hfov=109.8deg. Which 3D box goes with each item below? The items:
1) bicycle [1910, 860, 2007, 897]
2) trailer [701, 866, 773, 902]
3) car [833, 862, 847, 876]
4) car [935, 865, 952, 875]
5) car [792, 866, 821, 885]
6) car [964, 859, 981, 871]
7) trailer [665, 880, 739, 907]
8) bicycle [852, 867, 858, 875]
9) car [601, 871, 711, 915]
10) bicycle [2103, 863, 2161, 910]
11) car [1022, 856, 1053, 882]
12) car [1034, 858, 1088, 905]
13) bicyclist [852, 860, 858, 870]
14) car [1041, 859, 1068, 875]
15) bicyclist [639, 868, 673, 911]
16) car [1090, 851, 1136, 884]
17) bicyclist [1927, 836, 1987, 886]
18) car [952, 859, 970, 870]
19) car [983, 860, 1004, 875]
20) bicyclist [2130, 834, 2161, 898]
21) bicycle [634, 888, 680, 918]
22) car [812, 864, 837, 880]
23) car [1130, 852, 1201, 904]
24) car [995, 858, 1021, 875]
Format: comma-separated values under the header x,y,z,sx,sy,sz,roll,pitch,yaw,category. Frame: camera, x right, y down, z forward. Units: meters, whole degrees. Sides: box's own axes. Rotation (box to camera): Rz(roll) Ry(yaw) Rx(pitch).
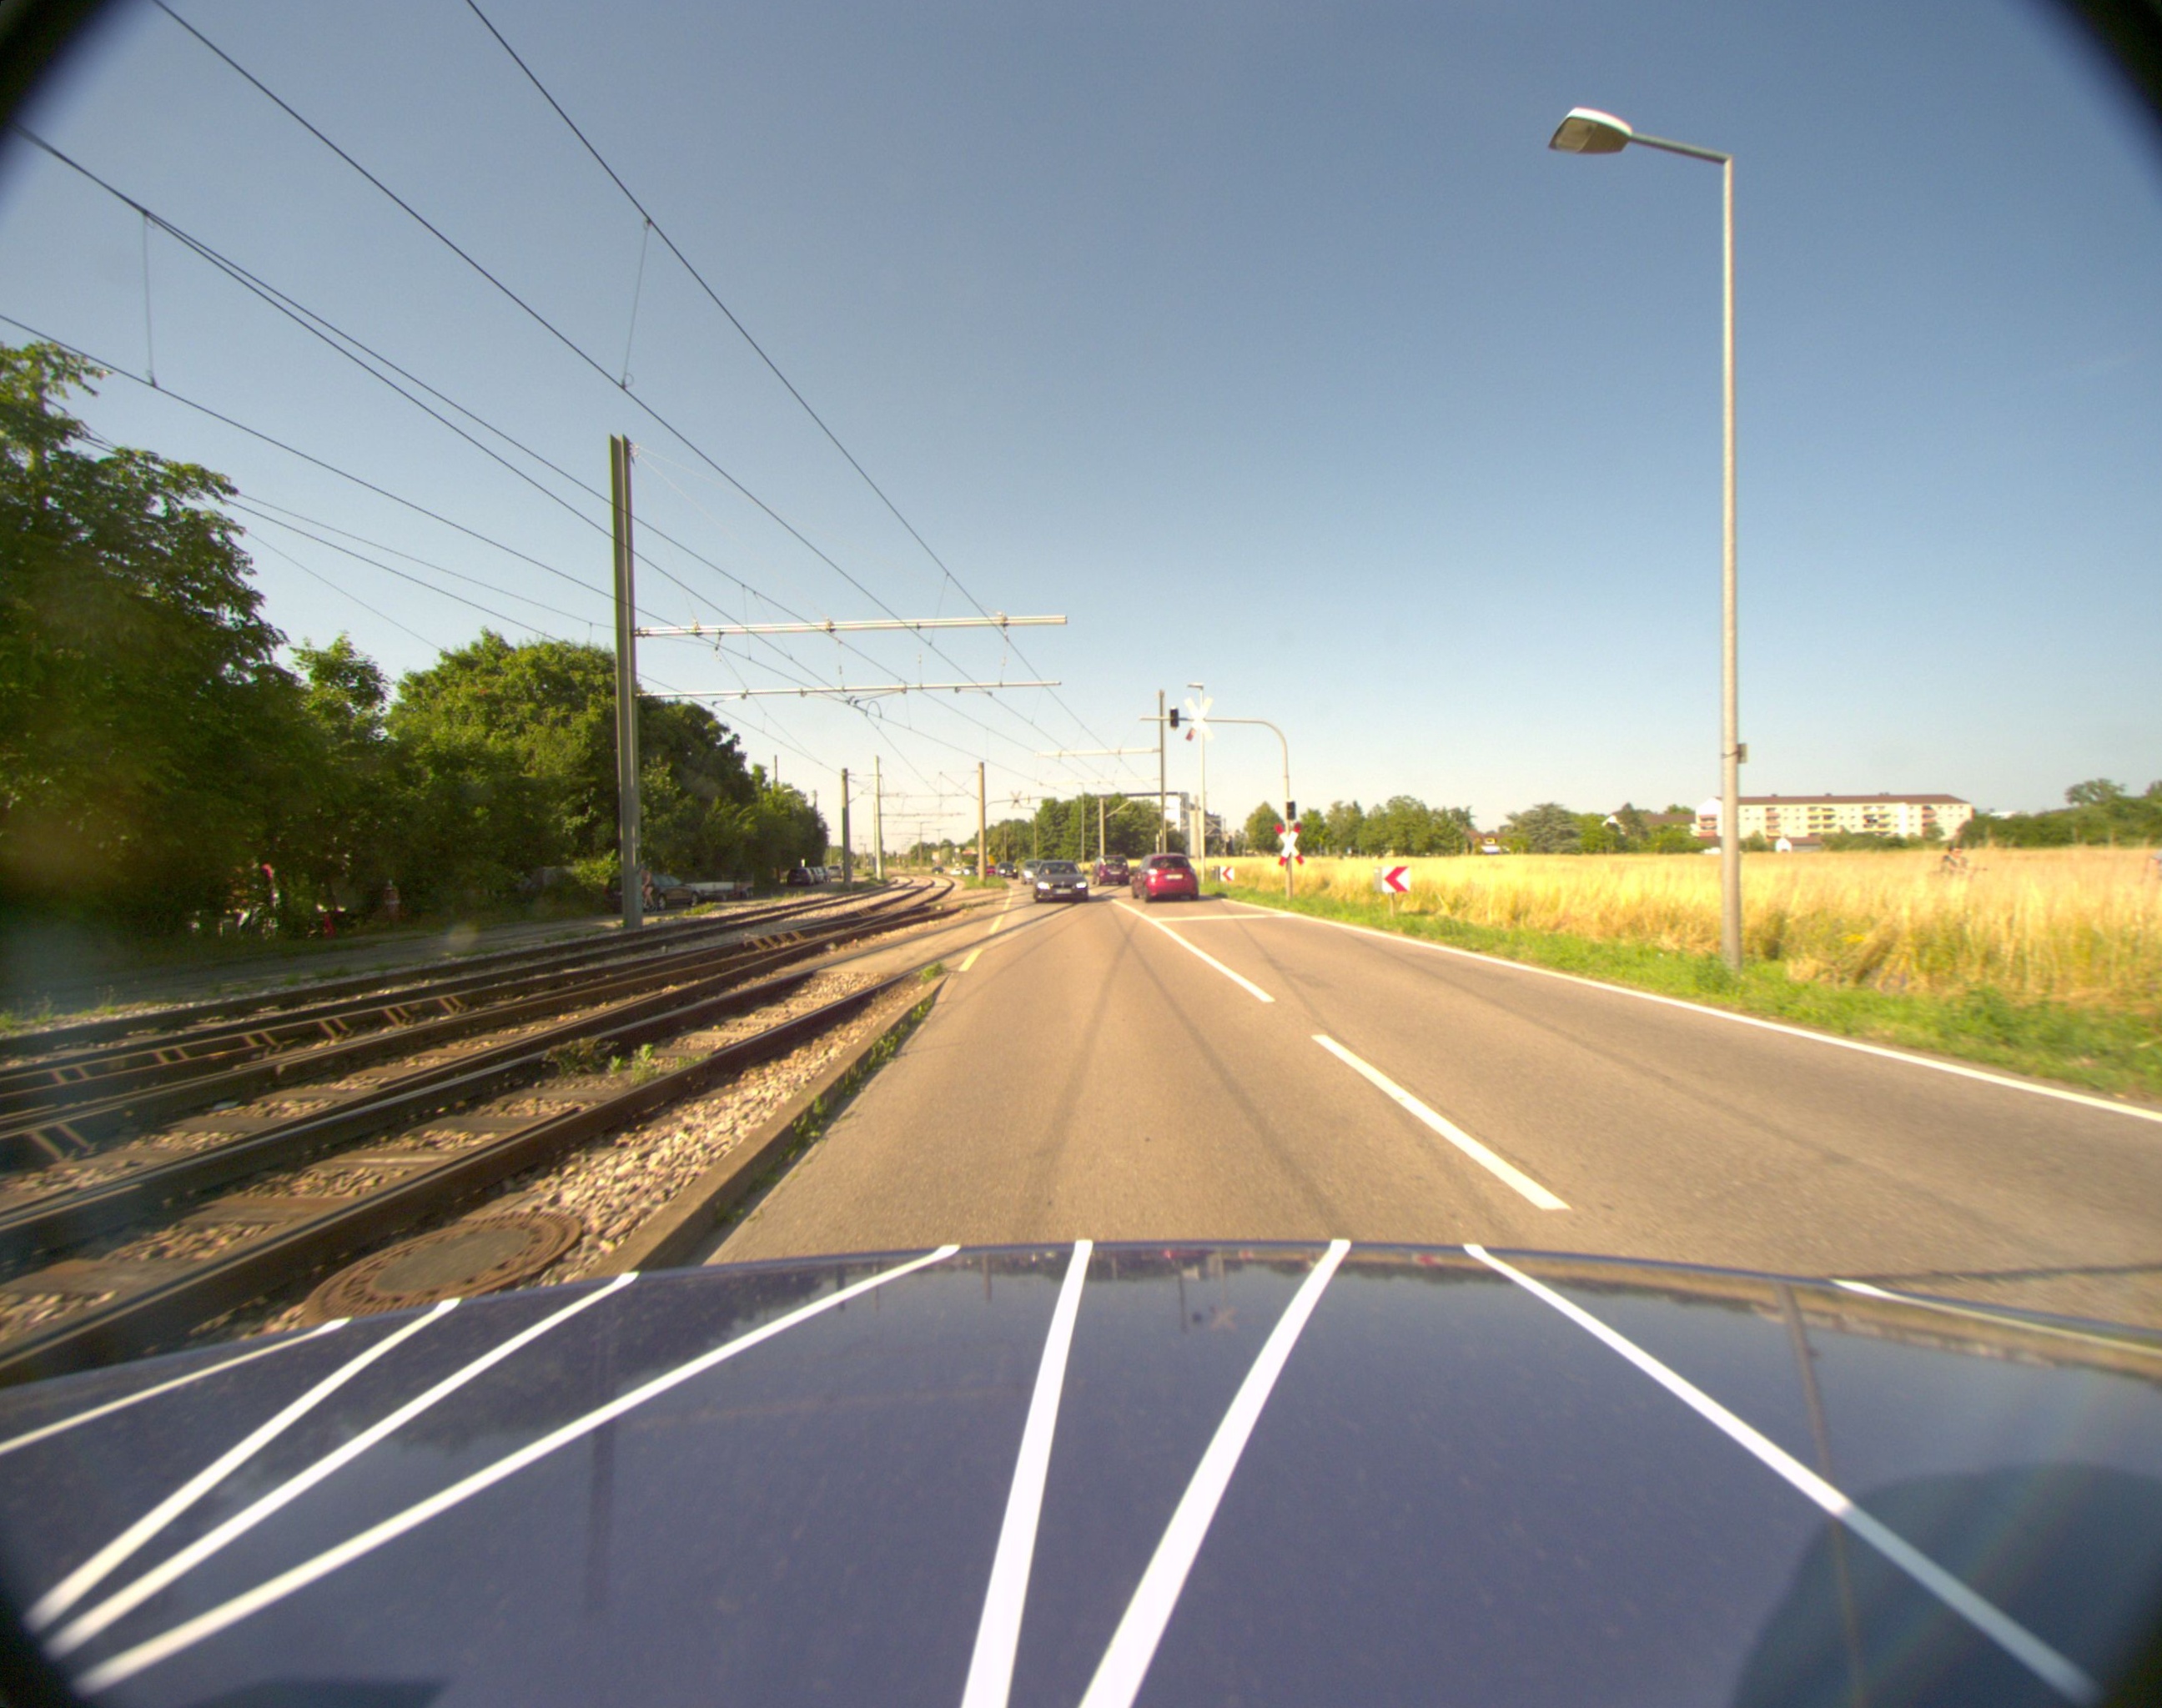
x,y,z,sx,sy,sz,roll,pitch,yaw,category
21.638,0.588,18.781,0.614,0.834,1.737,-2,0,11,bicycle
-17.661,1.481,39.214,2.032,1.587,4.257,-4,0,-6,trailer
-27.650,1.701,87.080,1.528,1.600,4.477,-1,-1,-18,car
-22.547,2.673,124.390,1.840,1.504,4.146,-3,0,-21,car
-21.600,1.666,59.946,1.628,1.402,4.516,-3,0,-13,car
-14.274,1.475,99.758,1.609,1.504,4.262,-3,0,-16,car
-17.457,1.811,35.175,1.736,0.934,3.726,-4,0,-5,trailer
-27.385,2.018,92.058,0.645,0.904,1.811,-2,0,-18,bicycle
-16.782,1.493,30.323,1.703,1.448,4.879,-4,0,-3,car
20.502,0.616,14.165,0.751,0.834,1.737,-2,0,11,bicycle
-2.669,0.898,45.590,1.711,1.444,4.588,-3,-1,-4,car
-0.677,0.916,26.898,1.747,1.444,3.946,-2,0,-1,car
-27.402,1.352,92.043,0.642,1.226,0.790,-2,0,-18,bicyclist
-2.504,1.207,70.418,1.699,1.431,4.279,-2,0,-12,car
-14.811,1.224,26.511,0.631,1.414,0.962,-2,0,-4,bicyclist
1.681,0.722,41.430,1.712,1.655,4.587,-2,0,-7,car
21.630,0.178,18.780,0.603,1.198,0.790,-2,0,10,bicyclist
-17.343,1.493,109.568,1.971,1.609,4.301,-2,0,-18,car
-10.079,1.562,87.031,1.849,1.587,3.734,-3,0,-14,car
20.495,0.213,14.165,0.746,1.198,0.790,-2,0,10,bicyclist
-14.797,1.686,26.549,0.644,0.904,1.843,-2,0,-4,bicycle
-25.396,1.757,75.316,1.683,1.421,3.908,-3,0,-10,car
2.716,0.731,25.221,1.717,1.540,3.927,-2,0,-2,car
-6.650,1.121,68.686,1.849,1.347,4.150,-3,0,-11,car
